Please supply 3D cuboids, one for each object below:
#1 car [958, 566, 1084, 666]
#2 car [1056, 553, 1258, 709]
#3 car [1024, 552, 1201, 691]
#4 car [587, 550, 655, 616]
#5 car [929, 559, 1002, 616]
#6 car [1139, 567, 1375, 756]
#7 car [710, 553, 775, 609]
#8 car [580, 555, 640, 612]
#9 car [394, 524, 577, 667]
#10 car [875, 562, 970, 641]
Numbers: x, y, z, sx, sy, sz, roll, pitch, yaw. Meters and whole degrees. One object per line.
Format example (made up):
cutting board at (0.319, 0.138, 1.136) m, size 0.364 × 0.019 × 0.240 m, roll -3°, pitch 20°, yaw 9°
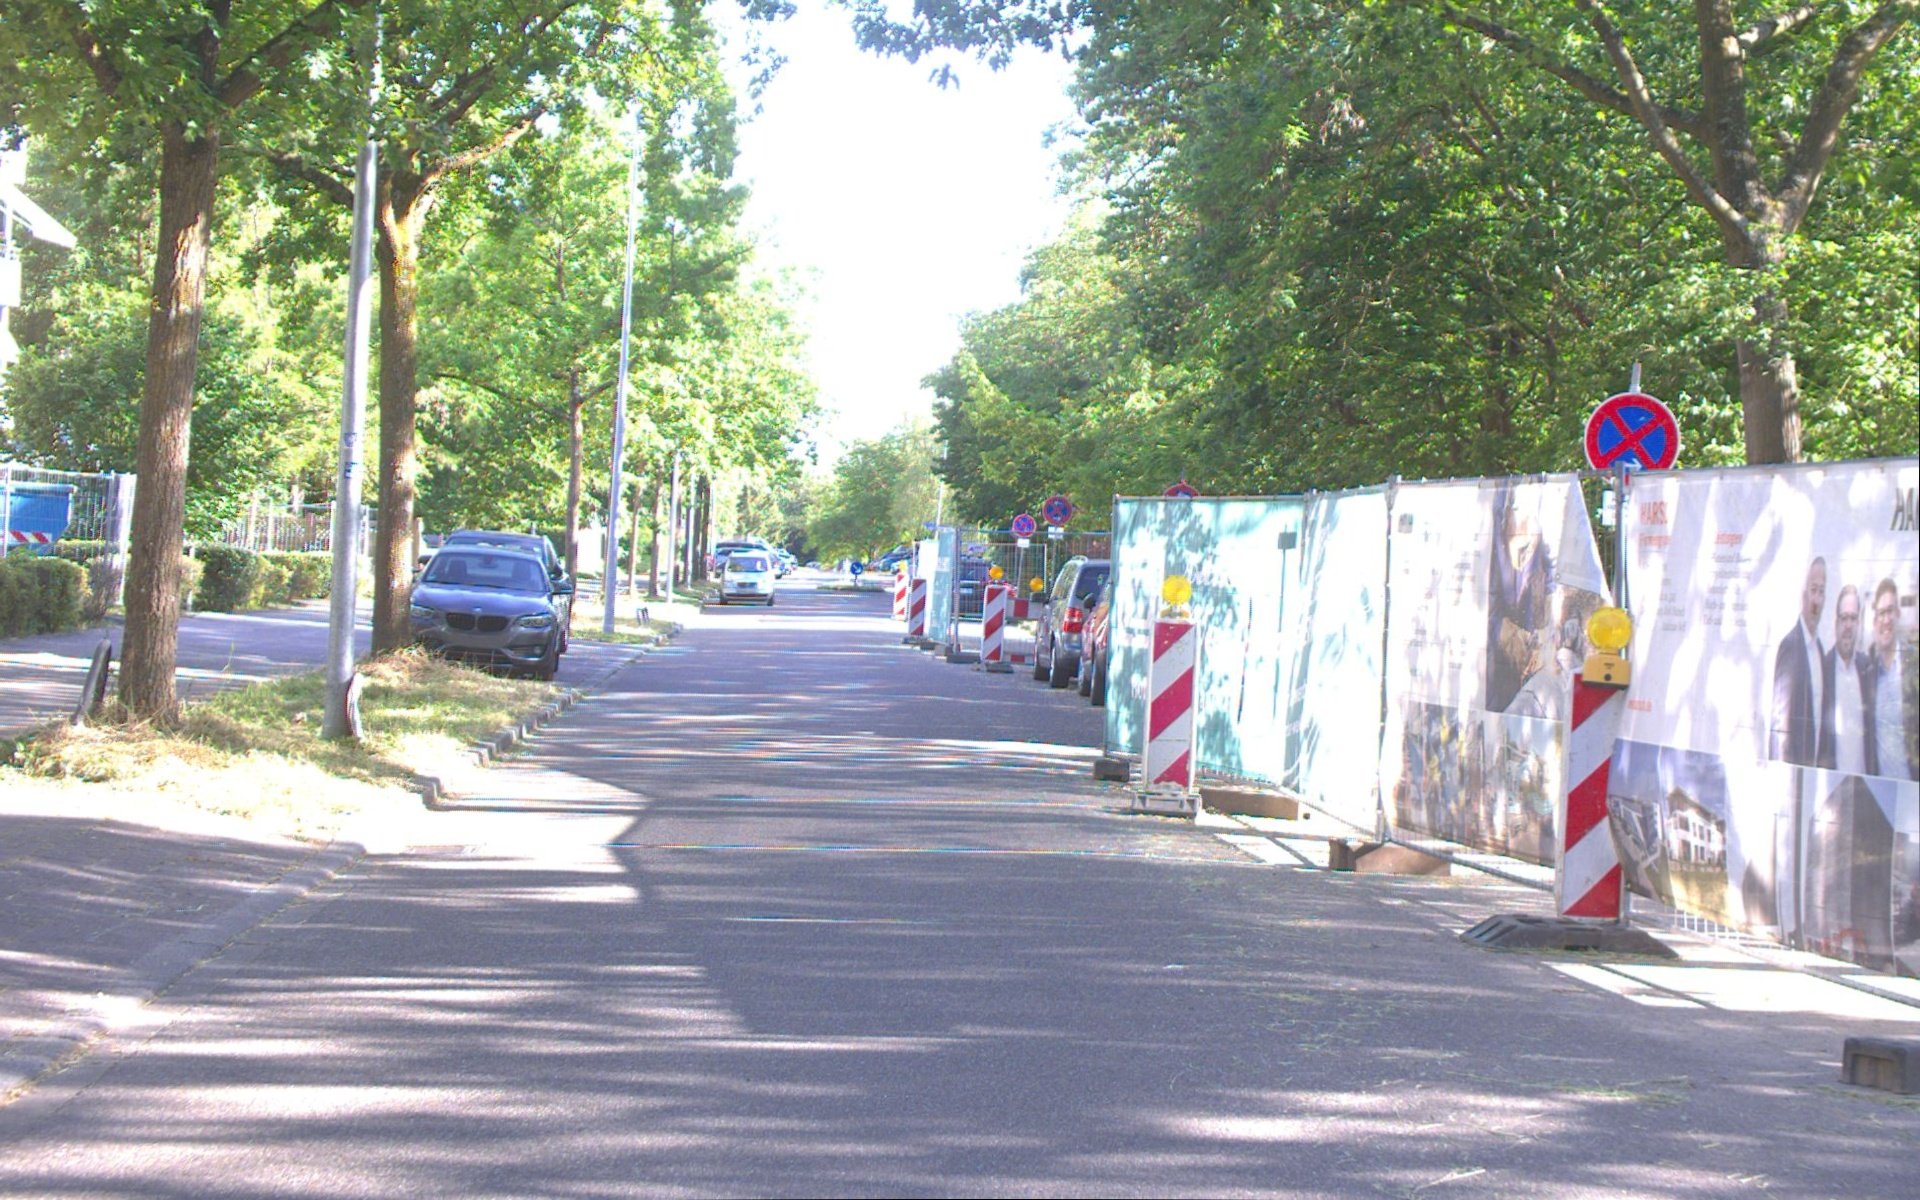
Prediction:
car at (0.842, 0.214, 49.384) m, size 1.361 × 1.298 × 3.482 m, roll 4°, pitch 0°, yaw -5°
car at (2.175, 0.312, 38.847) m, size 1.753 × 1.590 × 3.658 m, roll 3°, pitch 1°, yaw -4°
car at (1.886, 0.237, 43.518) m, size 1.753 × 1.590 × 3.658 m, roll 3°, pitch 1°, yaw -4°
car at (-7.330, -0.361, 74.555) m, size 1.361 × 1.298 × 3.482 m, roll 4°, pitch 0°, yaw -5°
car at (0.134, -0.348, 92.178) m, size 1.794 × 1.405 × 4.000 m, roll 3°, pitch 1°, yaw -1°
car at (2.525, 0.491, 29.797) m, size 1.500 × 1.473 × 3.059 m, roll 3°, pitch 1°, yaw -4°
car at (-6.788, -0.589, 107.072) m, size 1.710 × 1.579 × 4.001 m, roll 4°, pitch 0°, yaw -6°
car at (-8.759, -0.409, 86.232) m, size 1.361 × 1.298 × 3.482 m, roll 4°, pitch 0°, yaw -5°
car at (-5.365, -0.075, 39.236) m, size 1.750 × 1.473 × 3.837 m, roll 3°, pitch 1°, yaw -4°
car at (-0.701, 0.024, 62.295) m, size 1.361 × 1.298 × 3.482 m, roll 4°, pitch 0°, yaw -5°
